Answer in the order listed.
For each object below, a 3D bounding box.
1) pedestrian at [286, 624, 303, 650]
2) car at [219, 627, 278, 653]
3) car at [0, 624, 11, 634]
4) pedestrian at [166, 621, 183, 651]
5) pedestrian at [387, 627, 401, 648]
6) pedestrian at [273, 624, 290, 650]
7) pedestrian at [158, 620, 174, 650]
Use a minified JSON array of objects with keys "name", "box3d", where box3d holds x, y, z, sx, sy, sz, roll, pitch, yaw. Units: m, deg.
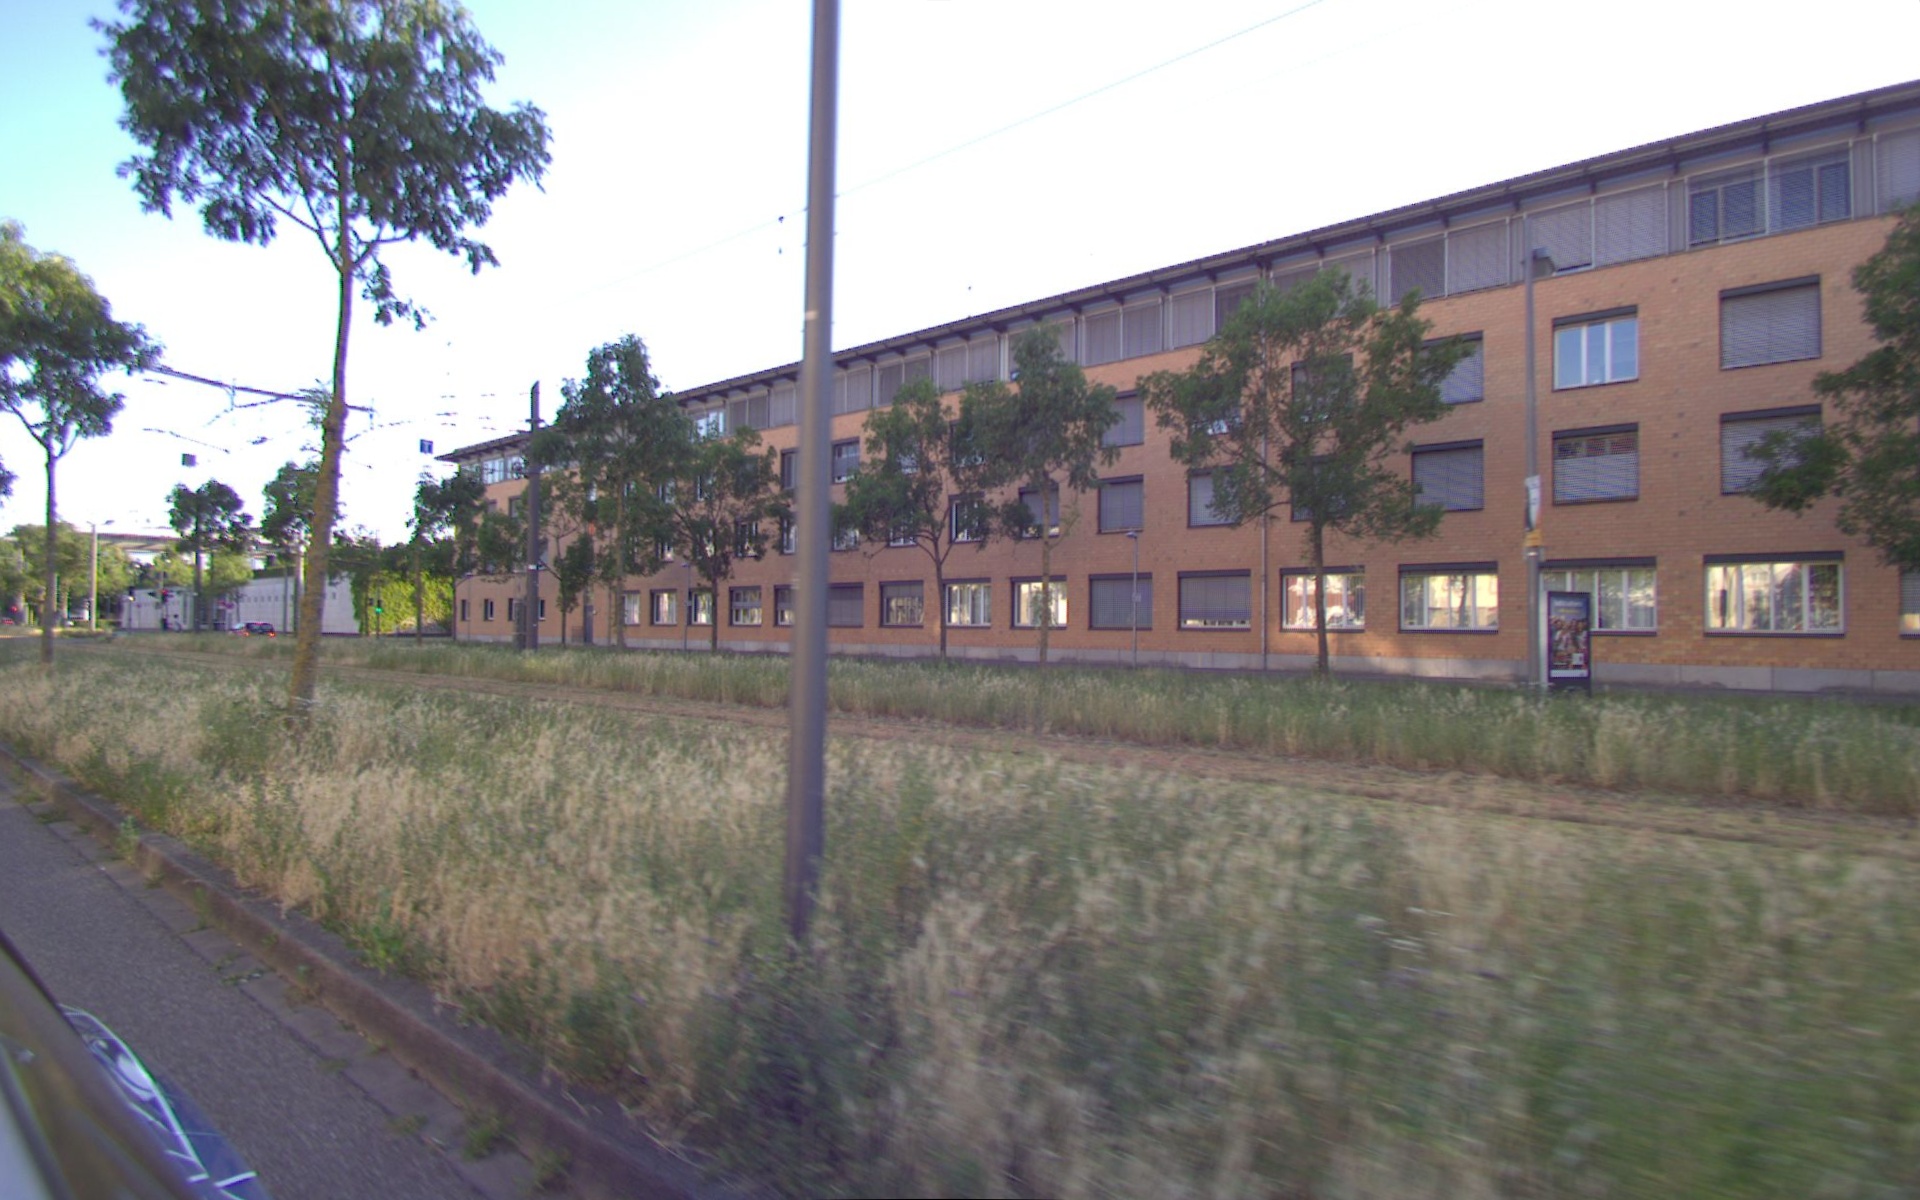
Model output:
[{"name":"pedestrian","box3d":[-52.085,2.890,79.239,0.861,2.029,0.725,-1,-1,20]},{"name":"car","box3d":[-39.802,2.208,56.596,3.997,1.386,1.772,-1,-2,40]},{"name":"car","box3d":[-139.795,4.231,147.417,3.997,1.386,1.772,-1,-2,40]},{"name":"pedestrian","box3d":[-45.325,2.072,58.408,0.544,1.697,0.512,0,-2,11]},{"name":"pedestrian","box3d":[-37.080,2.467,66.287,0.574,1.378,0.581,-1,-2,35]},{"name":"pedestrian","box3d":[-53.284,2.911,79.470,0.863,2.029,0.724,-1,-2,26]},{"name":"pedestrian","box3d":[-46.190,2.047,58.864,0.544,1.697,0.512,-1,-2,10]}]
